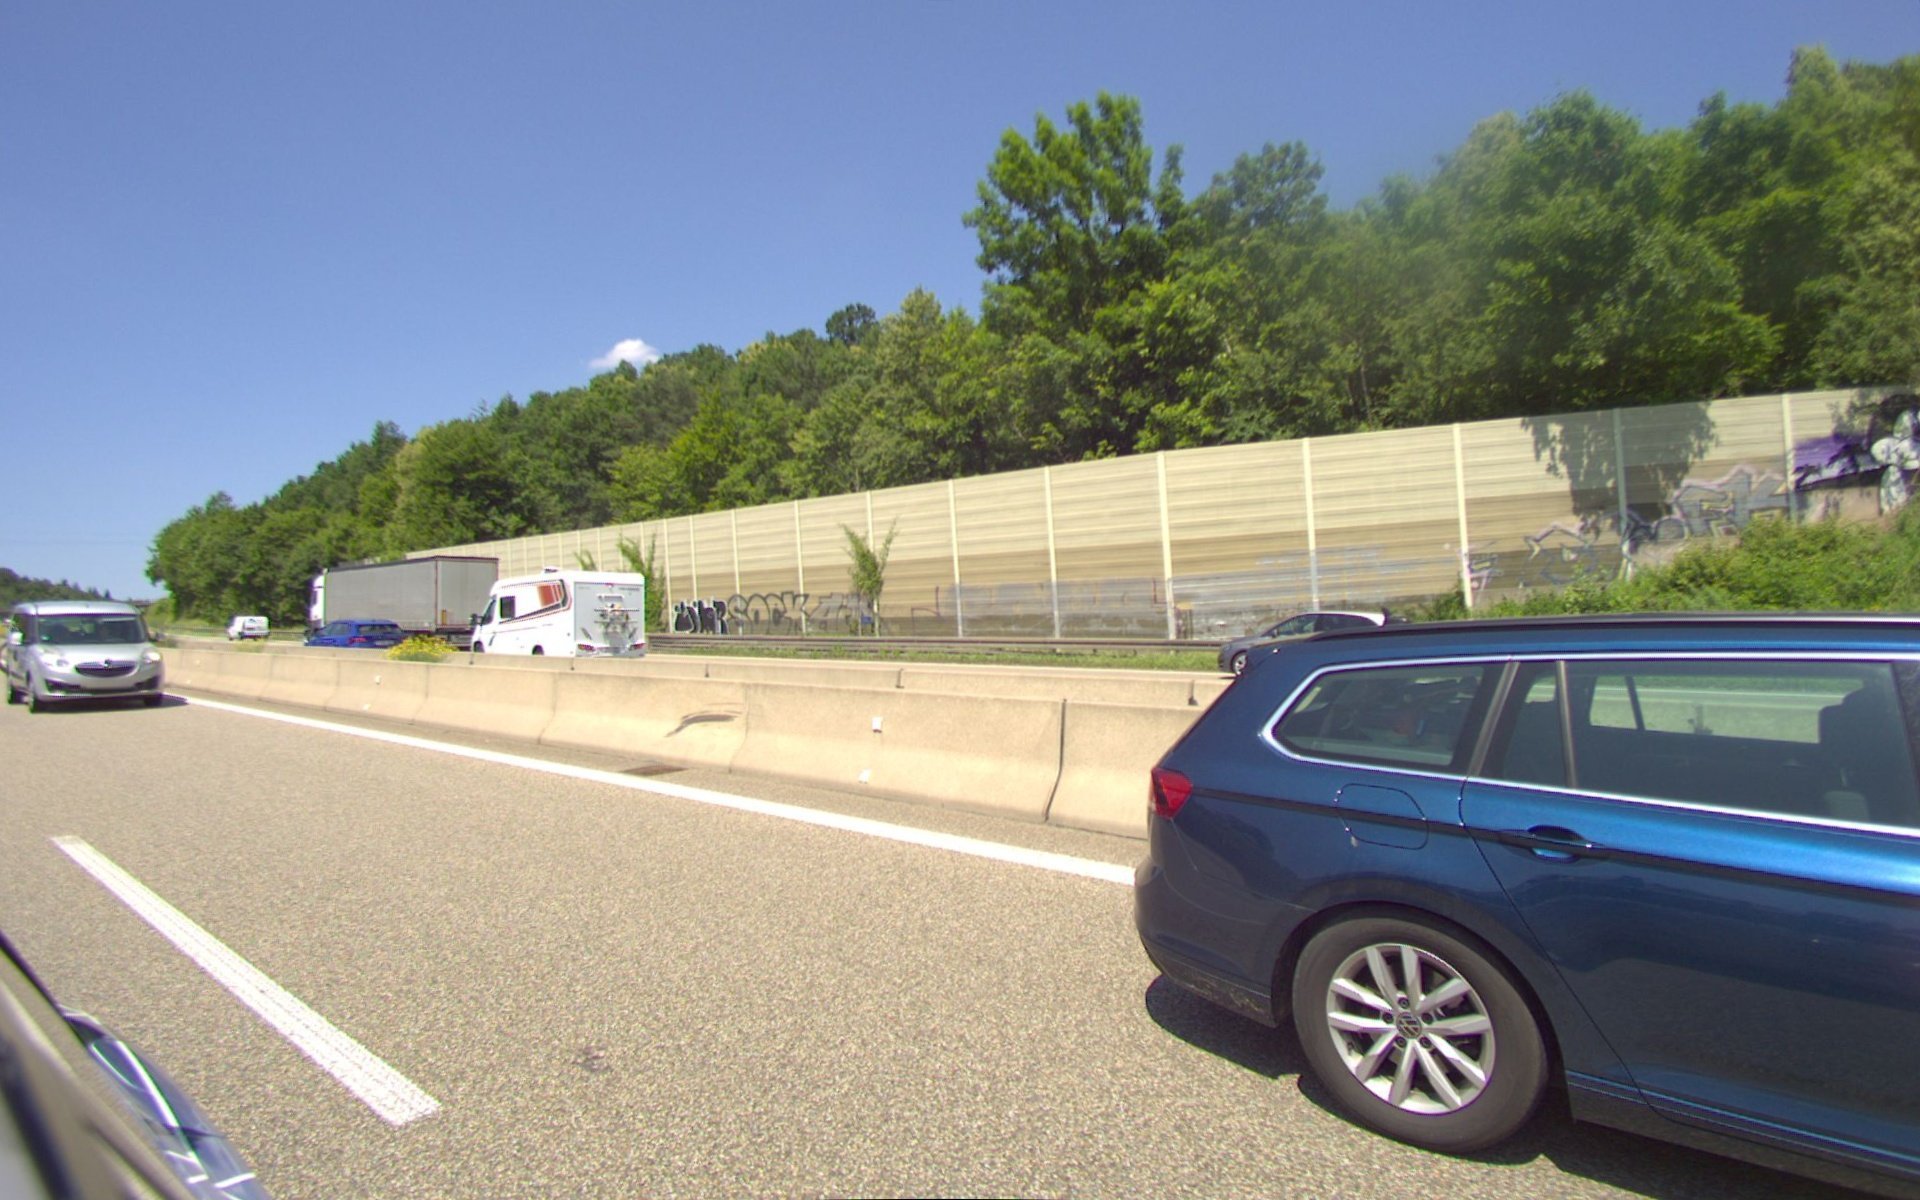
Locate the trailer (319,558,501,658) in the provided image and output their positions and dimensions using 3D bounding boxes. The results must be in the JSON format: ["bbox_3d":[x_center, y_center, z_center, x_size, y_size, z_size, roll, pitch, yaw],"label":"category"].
[{"bbox_3d":[-25.001,0.398,45.414,13.824,3.938,2.782,-1,-1,42],"label":"trailer"}]

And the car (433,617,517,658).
[{"bbox_3d":[-23.293,1.757,48.518,5.105,1.824,1.791,-1,-1,42],"label":"car"}]

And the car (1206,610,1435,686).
[{"bbox_3d":[7.675,0.996,21.832,4.386,1.473,1.561,-2,-1,41],"label":"car"}]

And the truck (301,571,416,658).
[{"bbox_3d":[-29.504,0.695,49.493,7.314,3.938,2.783,-1,-1,42],"label":"truck"}]

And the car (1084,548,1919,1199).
[{"bbox_3d":[2.752,0.608,2.414,4.727,1.438,1.714,-2,-1,41],"label":"car"}]

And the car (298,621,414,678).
[{"bbox_3d":[-17.614,1.399,29.441,4.125,1.549,1.693,-2,-1,41],"label":"car"}]

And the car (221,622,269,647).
[{"bbox_3d":[-55.930,2.678,79.140,5.301,1.881,1.901,-1,-1,41],"label":"car"}]

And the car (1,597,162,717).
[{"bbox_3d":[-15.399,0.923,17.671,4.001,1.858,1.756,-2,-2,44],"label":"car"}]

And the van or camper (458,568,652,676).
[{"bbox_3d":[-11.694,0.612,28.903,6.801,2.756,2.246,-1,-1,41],"label":"van or camper"}]
